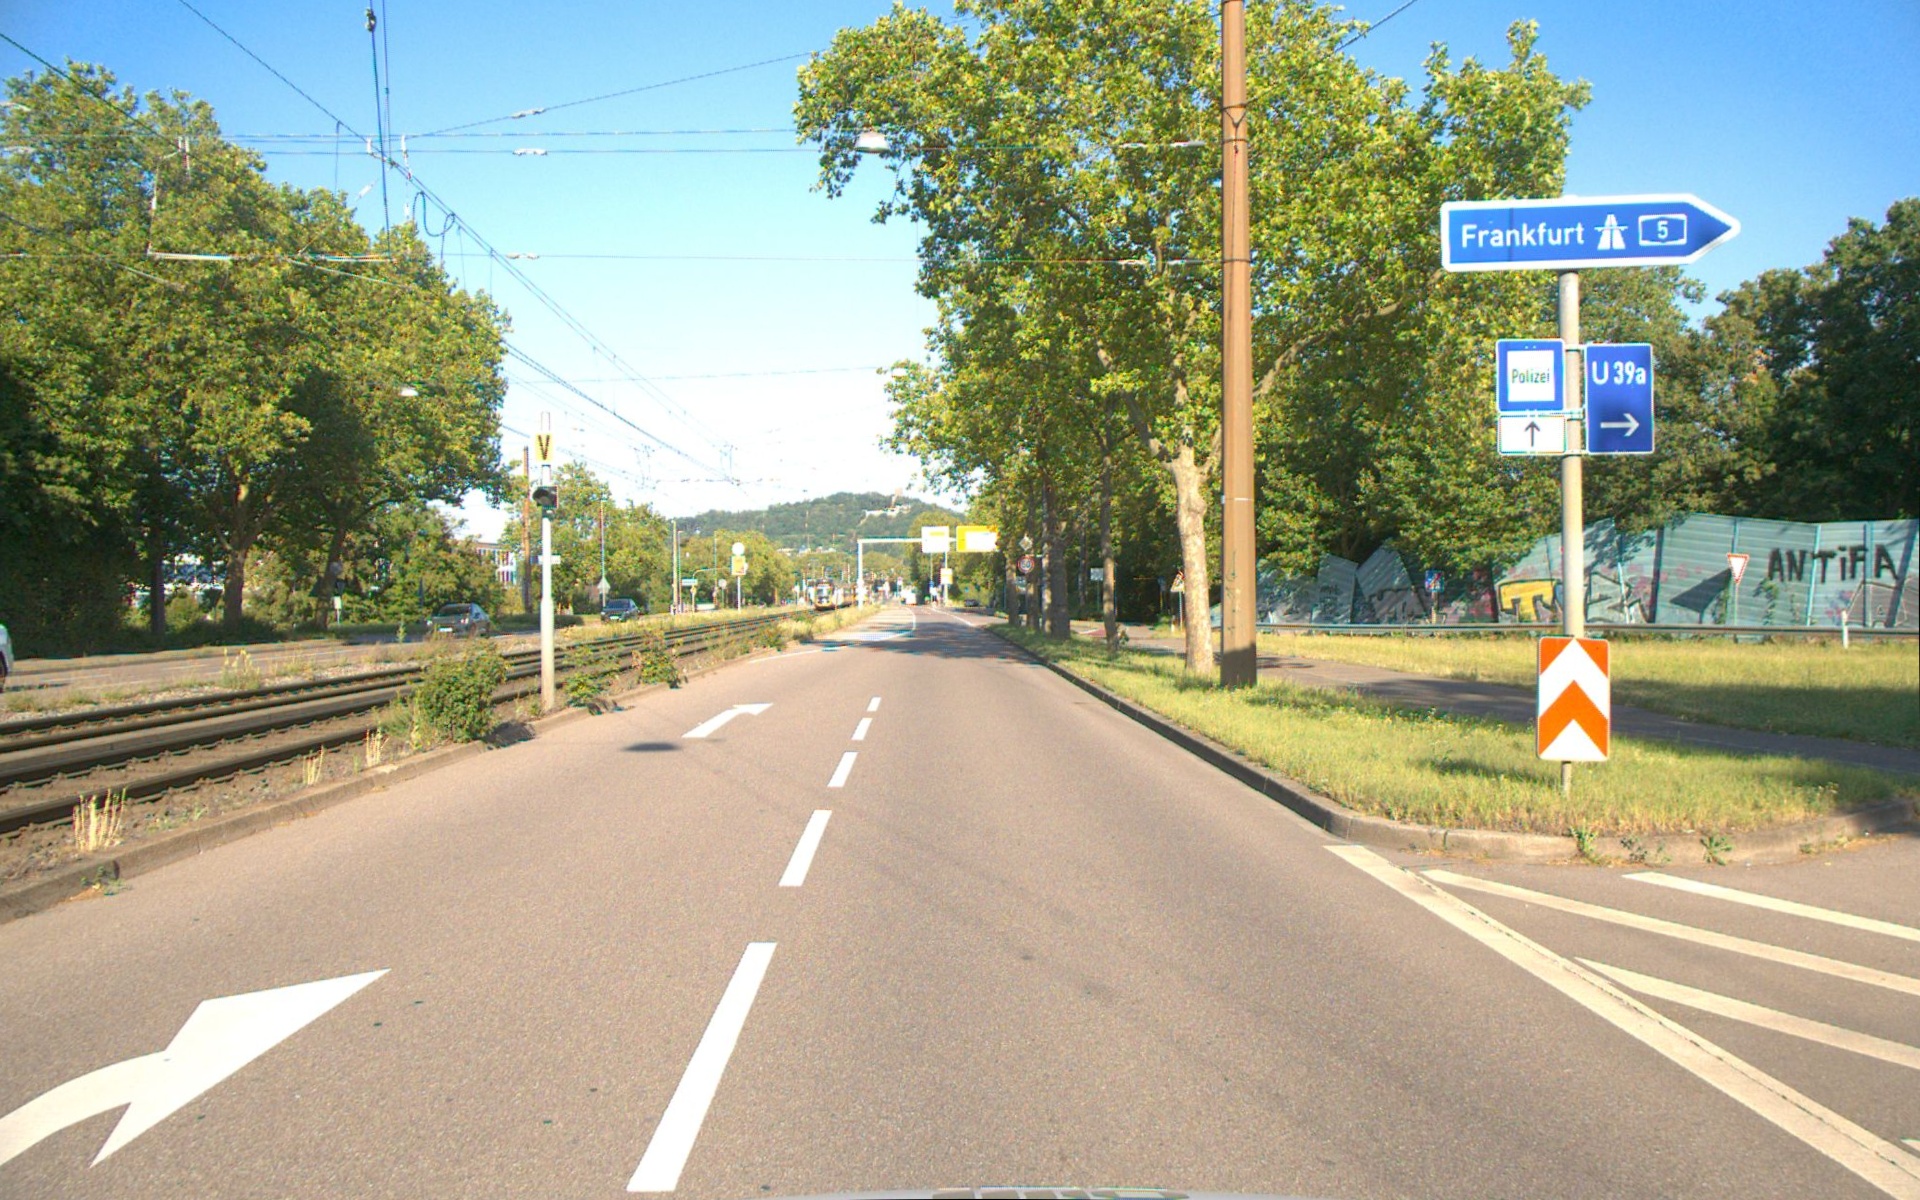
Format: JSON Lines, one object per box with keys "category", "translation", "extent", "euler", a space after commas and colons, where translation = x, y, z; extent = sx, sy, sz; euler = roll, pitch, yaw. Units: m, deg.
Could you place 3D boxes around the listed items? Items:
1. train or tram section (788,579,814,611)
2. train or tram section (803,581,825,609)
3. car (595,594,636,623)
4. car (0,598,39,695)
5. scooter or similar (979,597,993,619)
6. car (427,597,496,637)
{"category": "train or tram section", "translation": [-20.550, -0.608, 214.593], "extent": [2.748, 3.971, 12.325], "euler": [0, 0, -3]}
{"category": "train or tram section", "translation": [-22.152, -0.739, 251.292], "extent": [2.767, 4.020, 12.701], "euler": [0, 0, -2]}
{"category": "car", "translation": [-22.508, 0.555, 108.193], "extent": [1.861, 1.724, 4.937], "euler": [-2, 0, -4]}
{"category": "car", "translation": [-18.069, 0.865, 28.413], "extent": [1.924, 1.737, 4.940], "euler": [-3, 0, -4]}
{"category": "scooter or similar", "translation": [3.471, 1.051, 217.769], "extent": [1.647, 2.763, 4.867], "euler": [0, 0, -2]}
{"category": "car", "translation": [-20.390, 0.684, 67.748], "extent": [1.677, 1.493, 4.344], "euler": [-3, 0, -3]}
